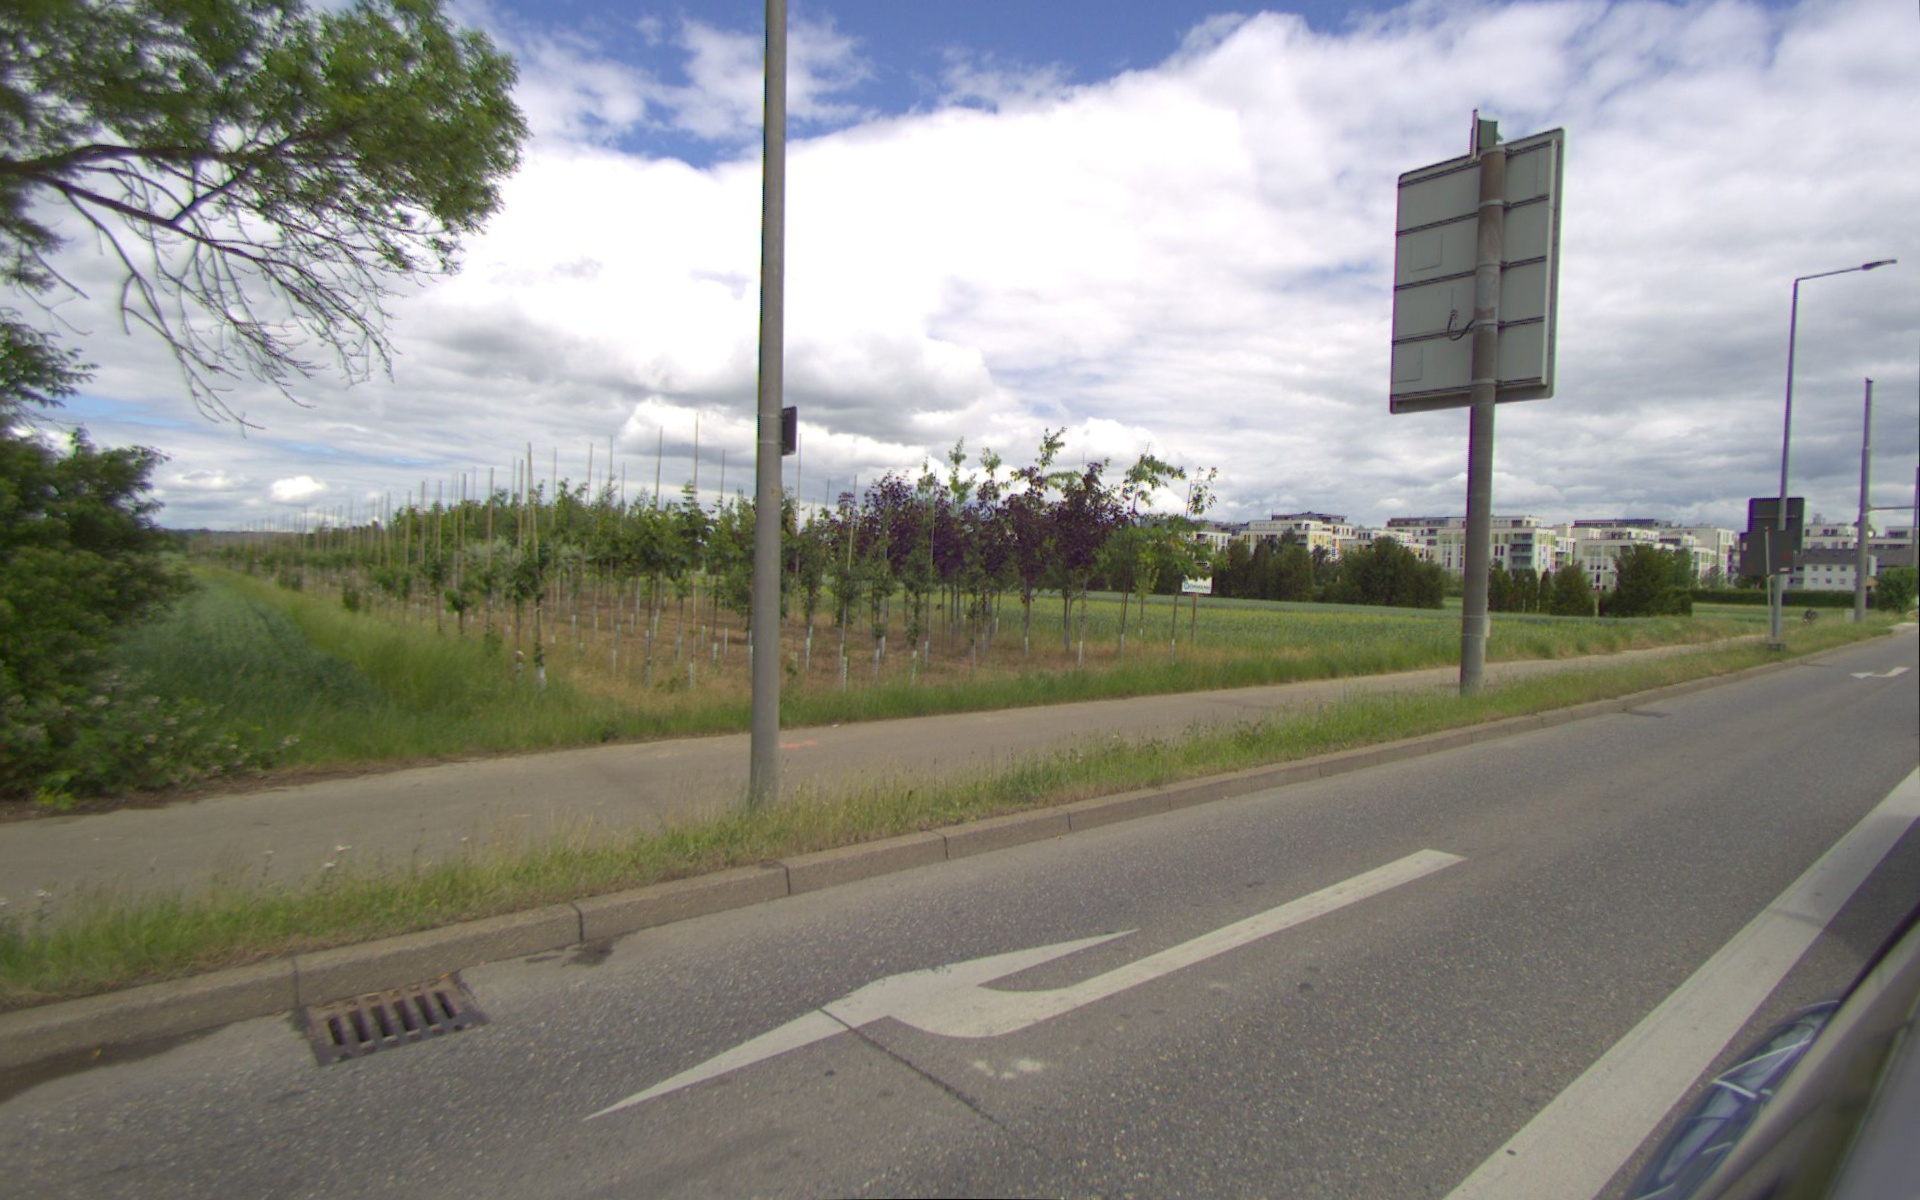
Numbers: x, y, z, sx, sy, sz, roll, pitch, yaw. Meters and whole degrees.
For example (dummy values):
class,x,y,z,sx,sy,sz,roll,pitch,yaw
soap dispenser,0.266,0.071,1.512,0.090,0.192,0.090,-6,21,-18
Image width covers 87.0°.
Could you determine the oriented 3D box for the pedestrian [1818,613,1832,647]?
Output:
class,x,y,z,sx,sy,sz,roll,pitch,yaw
pedestrian,44.566,1.546,52.134,0.615,1.724,0.492,0,0,-42
